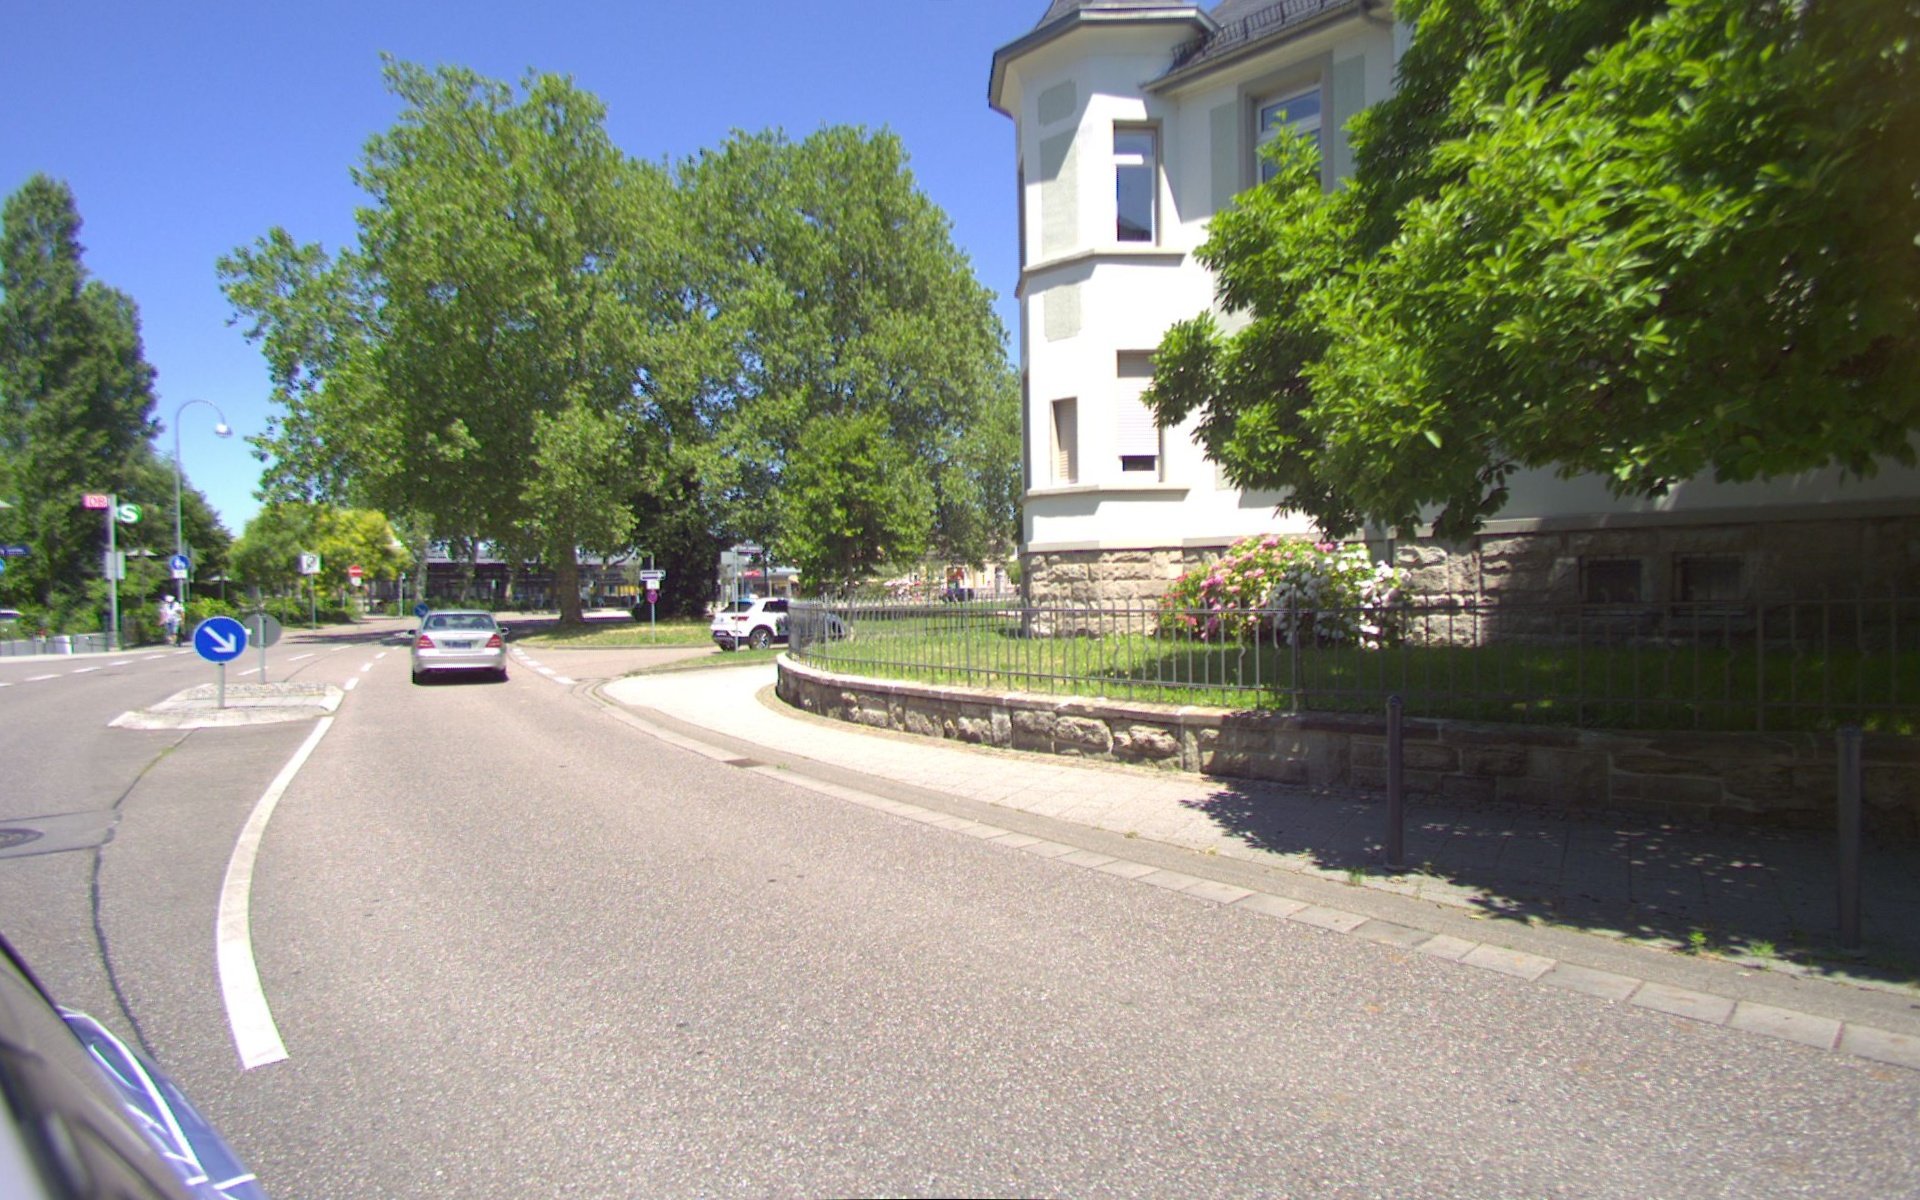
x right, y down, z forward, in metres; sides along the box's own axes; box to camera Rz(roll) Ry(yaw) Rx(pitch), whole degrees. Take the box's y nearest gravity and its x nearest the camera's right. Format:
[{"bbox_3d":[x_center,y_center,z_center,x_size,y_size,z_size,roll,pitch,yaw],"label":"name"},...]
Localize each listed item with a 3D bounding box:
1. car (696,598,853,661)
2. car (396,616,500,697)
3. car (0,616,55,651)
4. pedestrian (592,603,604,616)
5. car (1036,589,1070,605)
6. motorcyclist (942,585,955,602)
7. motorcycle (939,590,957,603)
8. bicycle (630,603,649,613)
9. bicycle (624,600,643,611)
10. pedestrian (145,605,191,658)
[{"bbox_3d":[-5.394,0.838,29.814,1.878,1.635,4.243,-3,-1,43],"label":"car"},{"bbox_3d":[-10.425,1.070,20.779,1.733,1.446,4.318,0,-1,-25],"label":"car"},{"bbox_3d":[-45.086,1.606,46.876,1.765,1.511,4.448,-2,1,34],"label":"car"},{"bbox_3d":[-37.246,0.966,104.148,0.828,1.284,0.859,-1,0,30],"label":"pedestrian"},{"bbox_3d":[10.496,-0.324,114.092,2.043,1.760,4.275,0,0,33],"label":"car"},{"bbox_3d":[-1.117,-0.598,96.898,0.807,1.567,1.093,-1,0,30],"label":"motorcyclist"},{"bbox_3d":[-1.137,-0.360,96.865,0.806,1.241,2.030,-1,1,30],"label":"motorcycle"},{"bbox_3d":[-37.649,0.941,118.886,0.669,1.081,2.143,1,5,37],"label":"bicycle"},{"bbox_3d":[-38.596,0.635,119.608,0.669,1.081,2.143,1,5,37],"label":"bicycle"},{"bbox_3d":[-27.482,1.076,35.131,0.901,1.785,0.917,0,0,-7],"label":"pedestrian"}]
